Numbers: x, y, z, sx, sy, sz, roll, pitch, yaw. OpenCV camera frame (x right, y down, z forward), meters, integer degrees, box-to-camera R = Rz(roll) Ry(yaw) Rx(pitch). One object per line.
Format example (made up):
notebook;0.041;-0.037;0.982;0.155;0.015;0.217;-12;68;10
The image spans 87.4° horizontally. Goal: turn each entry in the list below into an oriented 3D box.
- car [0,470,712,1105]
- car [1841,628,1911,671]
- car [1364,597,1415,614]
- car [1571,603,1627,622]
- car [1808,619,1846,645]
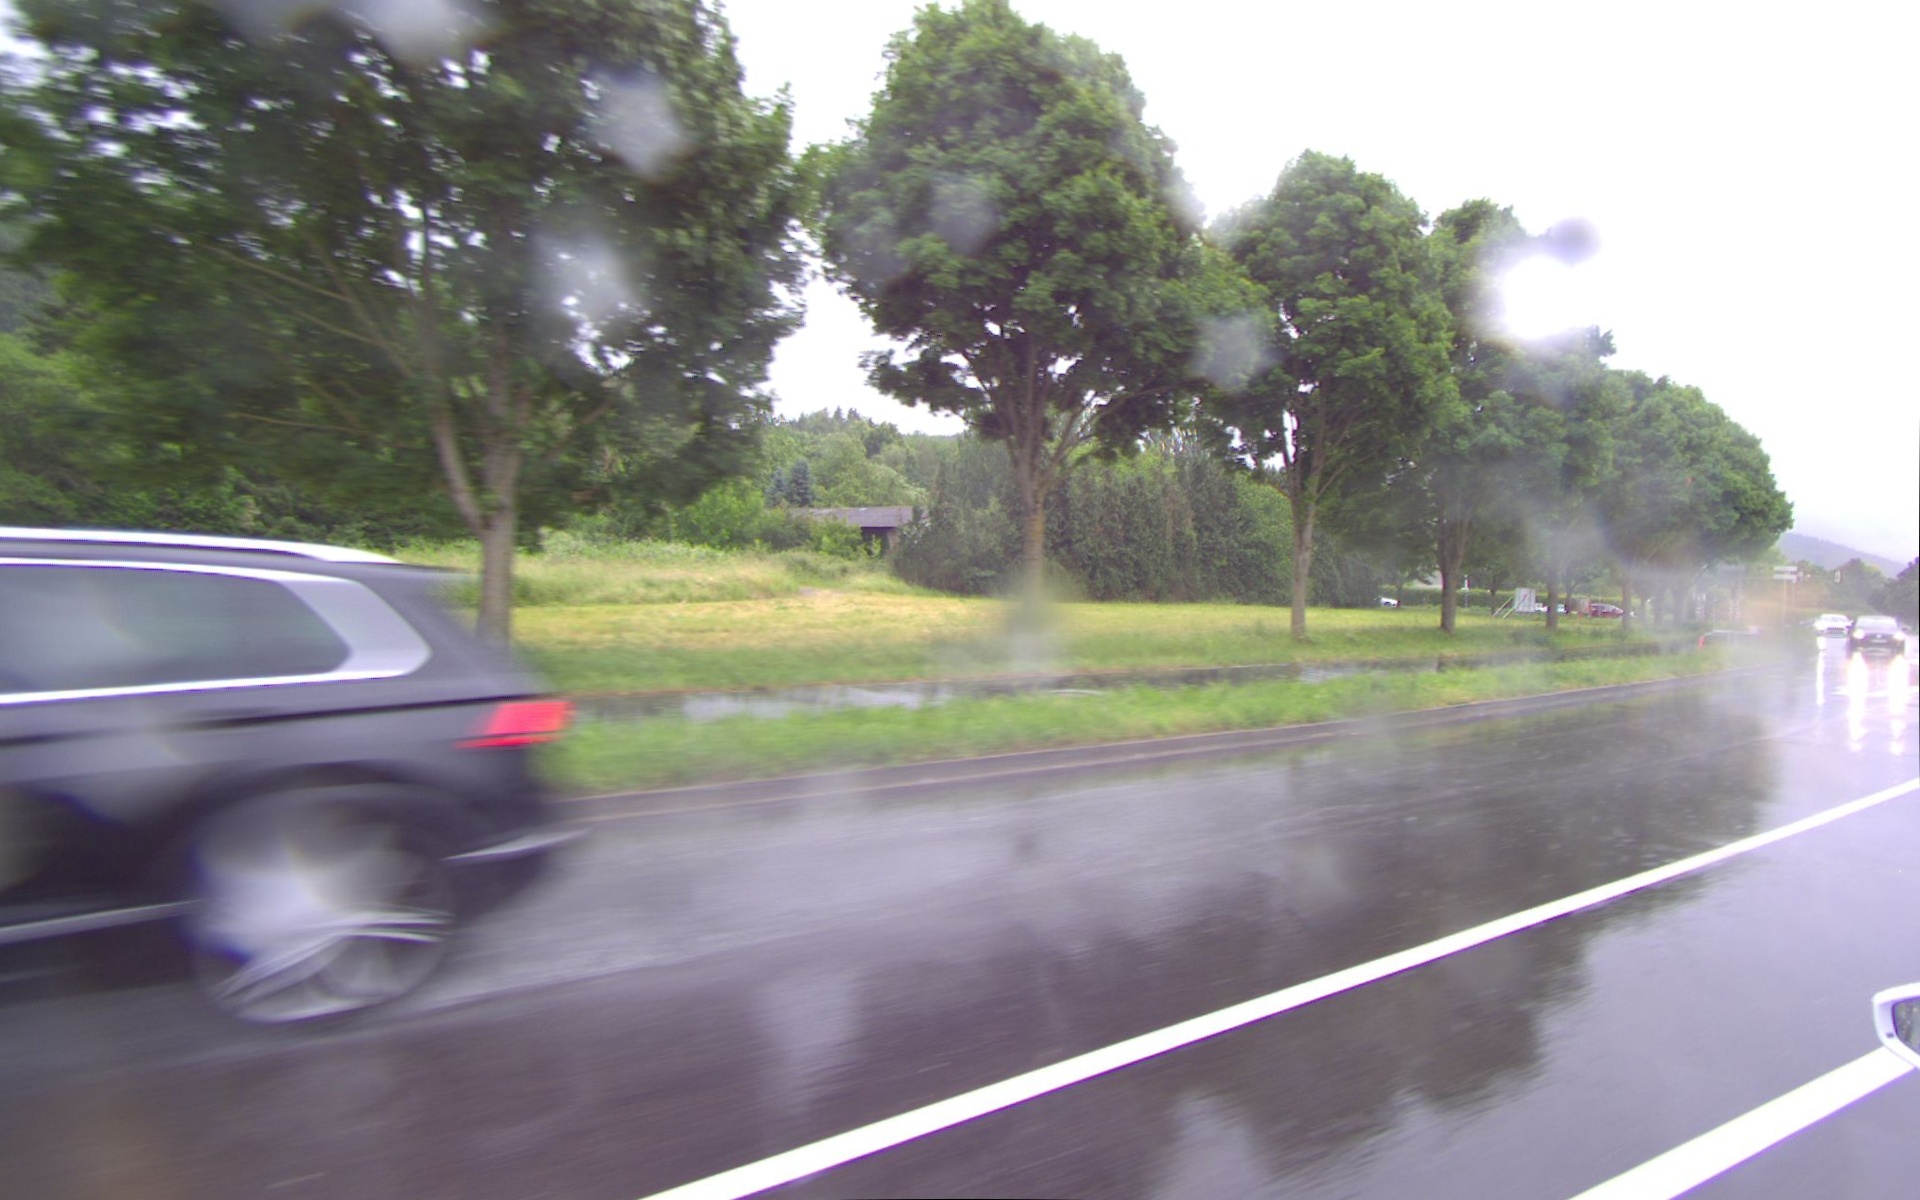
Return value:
car;-3.265;0.513;3.532;4.245;1.766;1.912;1;0;-35
car;39.620;2.095;43.411;4.090;1.609;1.866;1;3;-44
car;48.139;0.613;112.640;1.787;1.574;4.832;1;2;-44
car;62.715;1.248;98.633;1.721;1.601;4.331;1;2;-44
car;58.499;2.128;67.722;1.858;1.594;4.620;1;0;42
